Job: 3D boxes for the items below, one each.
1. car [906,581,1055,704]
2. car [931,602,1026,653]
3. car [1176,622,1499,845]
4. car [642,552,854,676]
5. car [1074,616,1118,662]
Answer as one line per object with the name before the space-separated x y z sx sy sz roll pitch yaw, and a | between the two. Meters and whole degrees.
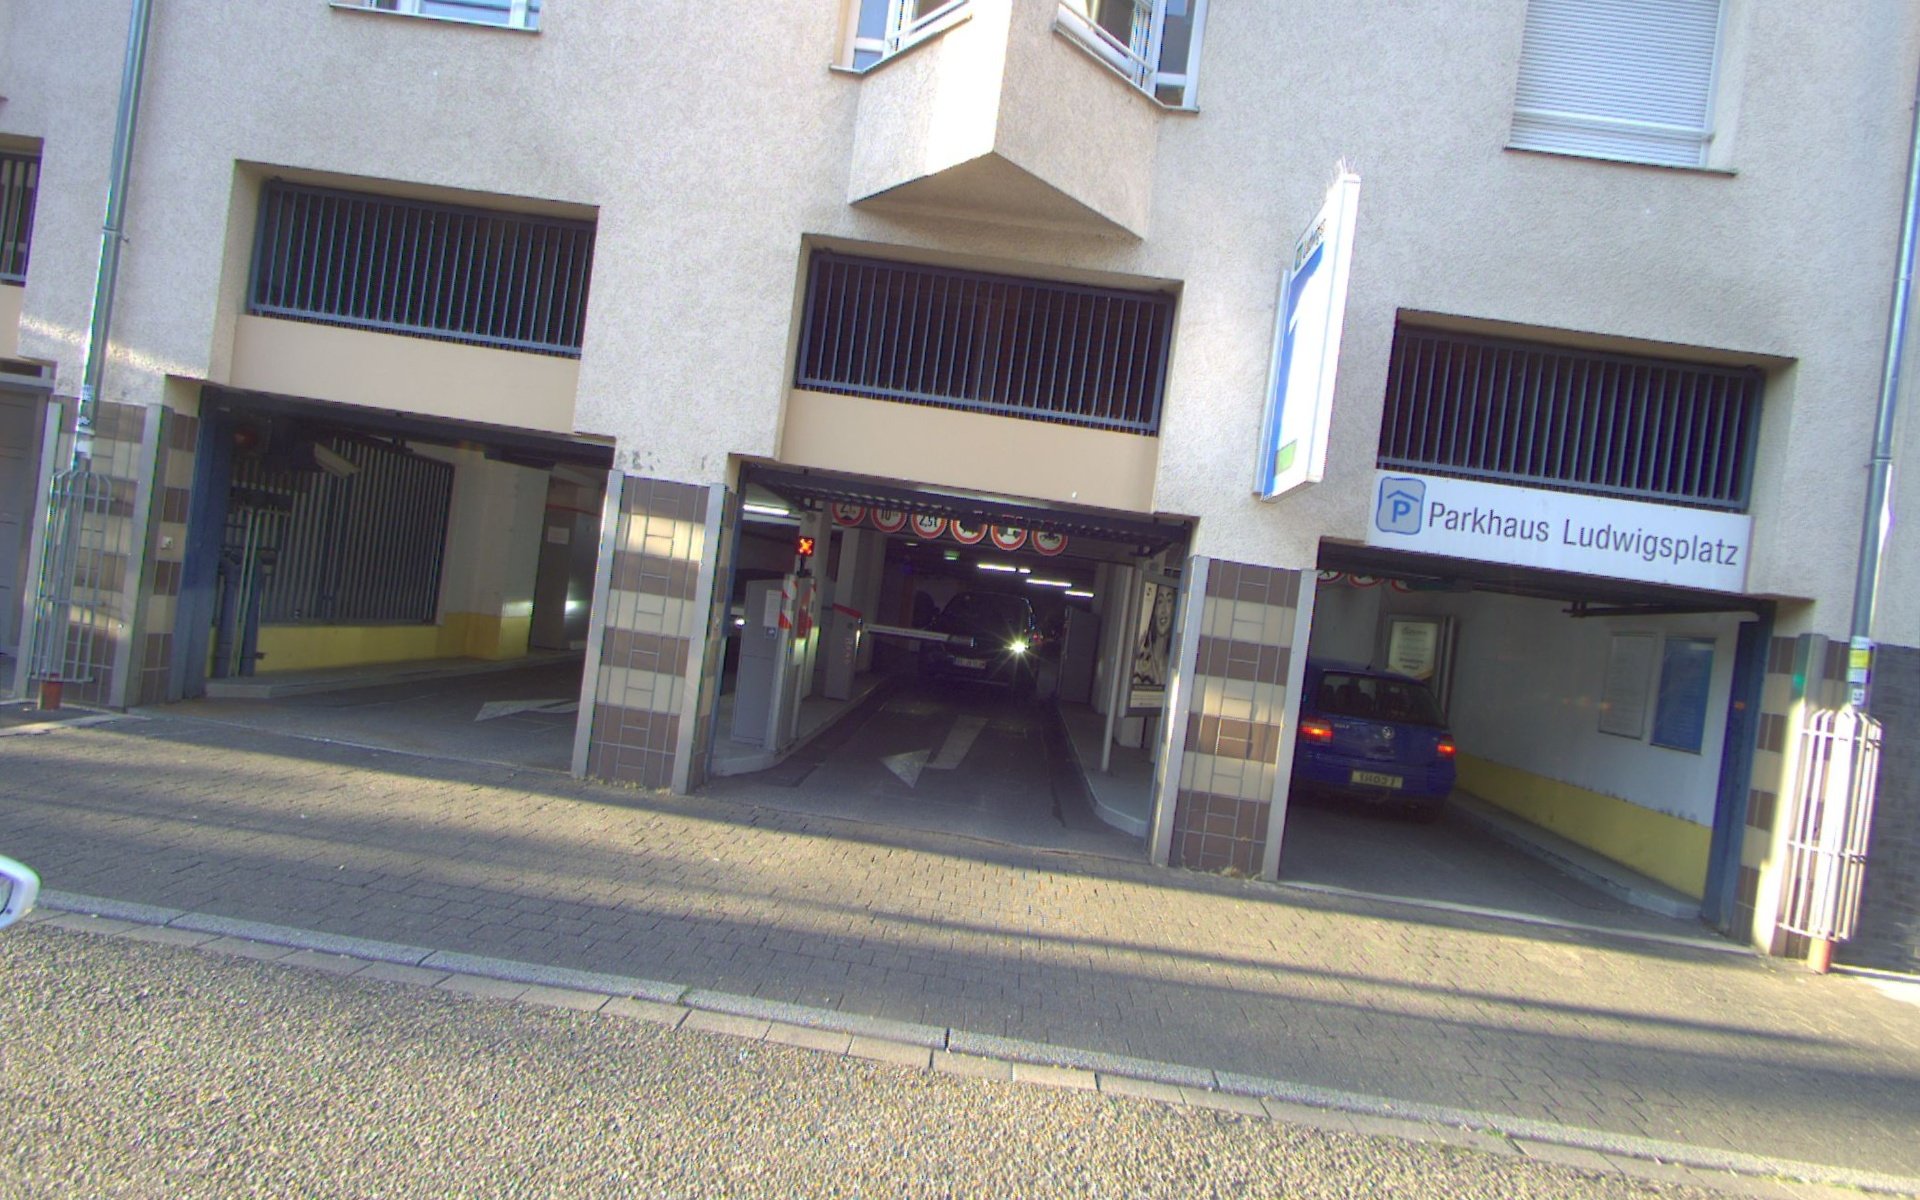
car | 0.505 0.713 17.550 1.855 1.644 4.303 8 0 9
car | 0.639 1.017 37.912 1.593 1.409 3.845 7 1 -33
car | 3.797 1.241 10.987 1.663 1.583 4.114 8 1 -2
car | -3.332 0.250 16.770 1.784 1.592 4.252 7 0 11
car | 5.631 1.590 42.109 1.531 1.638 3.881 8 0 6
